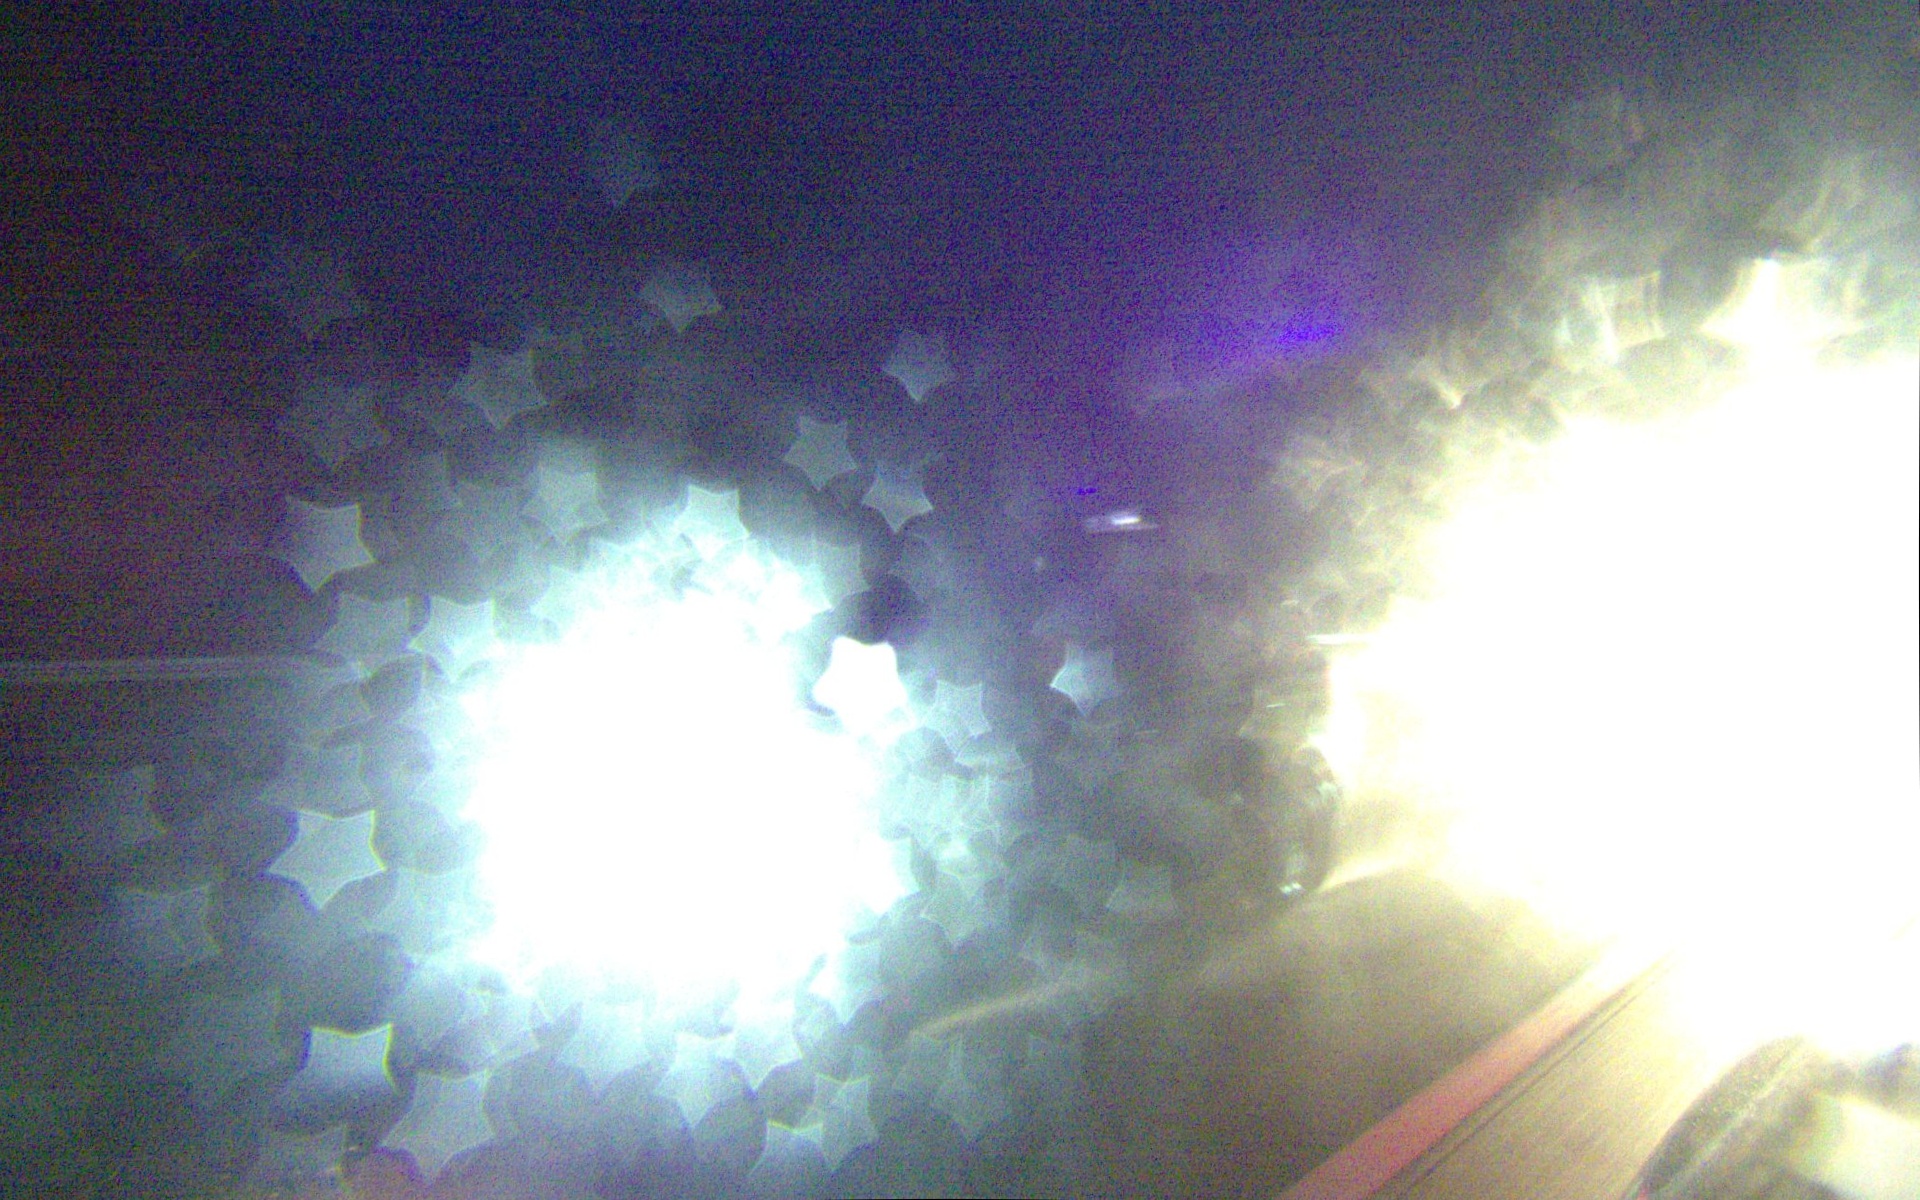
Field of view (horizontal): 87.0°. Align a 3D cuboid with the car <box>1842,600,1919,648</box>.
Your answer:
[{"bbox_3d":[40.781,1.014,44.766,3.928,2.039,1.998,0,0,-39],"label":"car"}]

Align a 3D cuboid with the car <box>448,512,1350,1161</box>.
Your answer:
[{"bbox_3d":[-0.059,0.607,4.471,3.614,1.645,1.846,0,-1,-41],"label":"car"}]

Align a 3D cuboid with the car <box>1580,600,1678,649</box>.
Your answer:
[{"bbox_3d":[24.330,0.872,36.762,4.045,1.610,1.917,-1,-1,-41],"label":"car"}]

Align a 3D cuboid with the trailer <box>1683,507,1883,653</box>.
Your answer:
[{"bbox_3d":[27.431,-0.592,33.316,13.579,4.029,2.743,-1,-1,-41],"label":"trailer"}]

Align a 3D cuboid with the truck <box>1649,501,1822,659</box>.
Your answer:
[{"bbox_3d":[21.840,-0.505,28.446,5.108,4.020,2.779,-1,-2,-41],"label":"truck"}]
